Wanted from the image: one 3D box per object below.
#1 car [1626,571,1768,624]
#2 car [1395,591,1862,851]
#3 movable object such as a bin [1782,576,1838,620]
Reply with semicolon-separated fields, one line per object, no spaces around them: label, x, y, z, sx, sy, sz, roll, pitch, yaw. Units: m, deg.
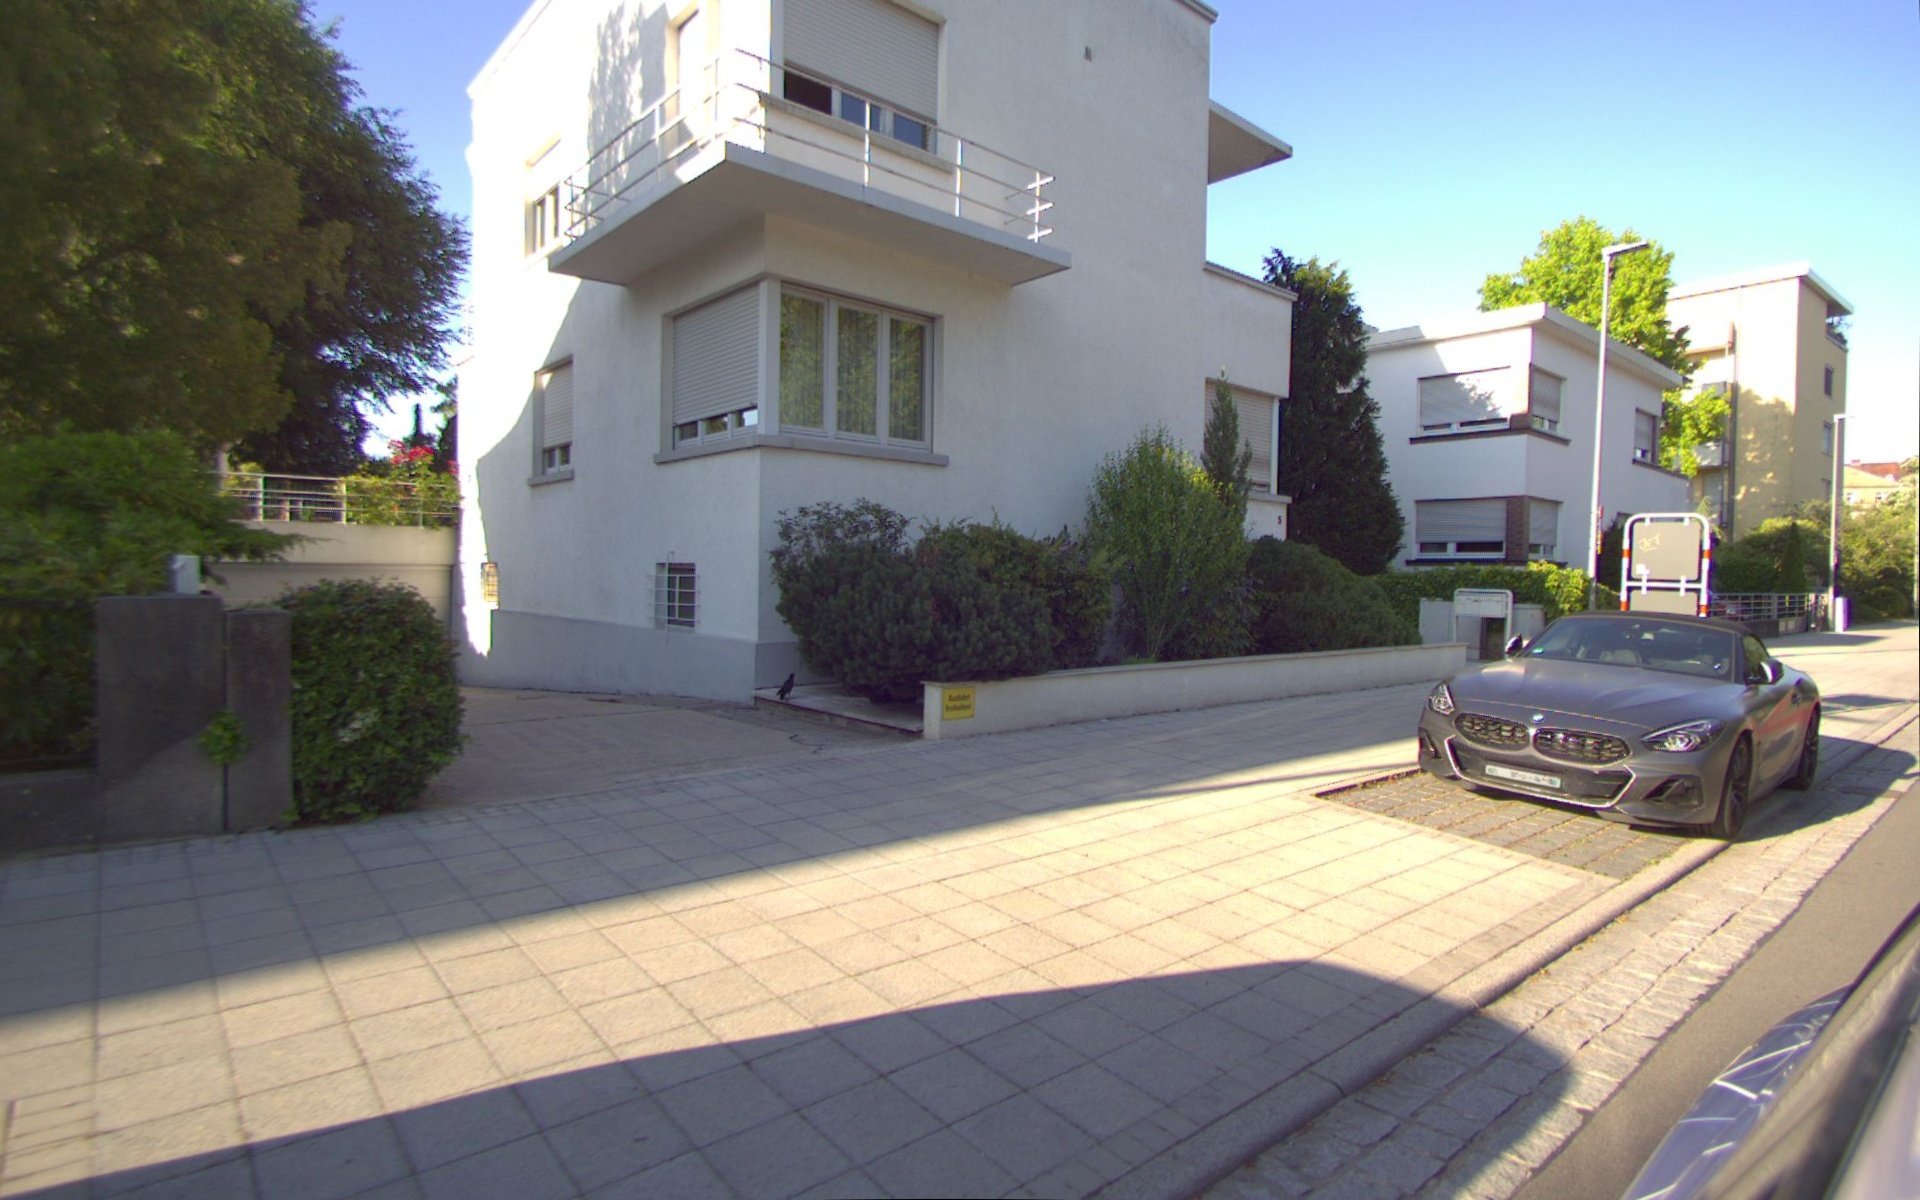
car;24.599;-0.139;33.875;1.611;1.662;3.507;0;2;-32
car;5.169;0.668;7.598;4.197;1.304;1.779;0;4;-41
movable object such as a bin;28.827;-0.092;34.320;1.103;1.450;1.240;0;1;-39
